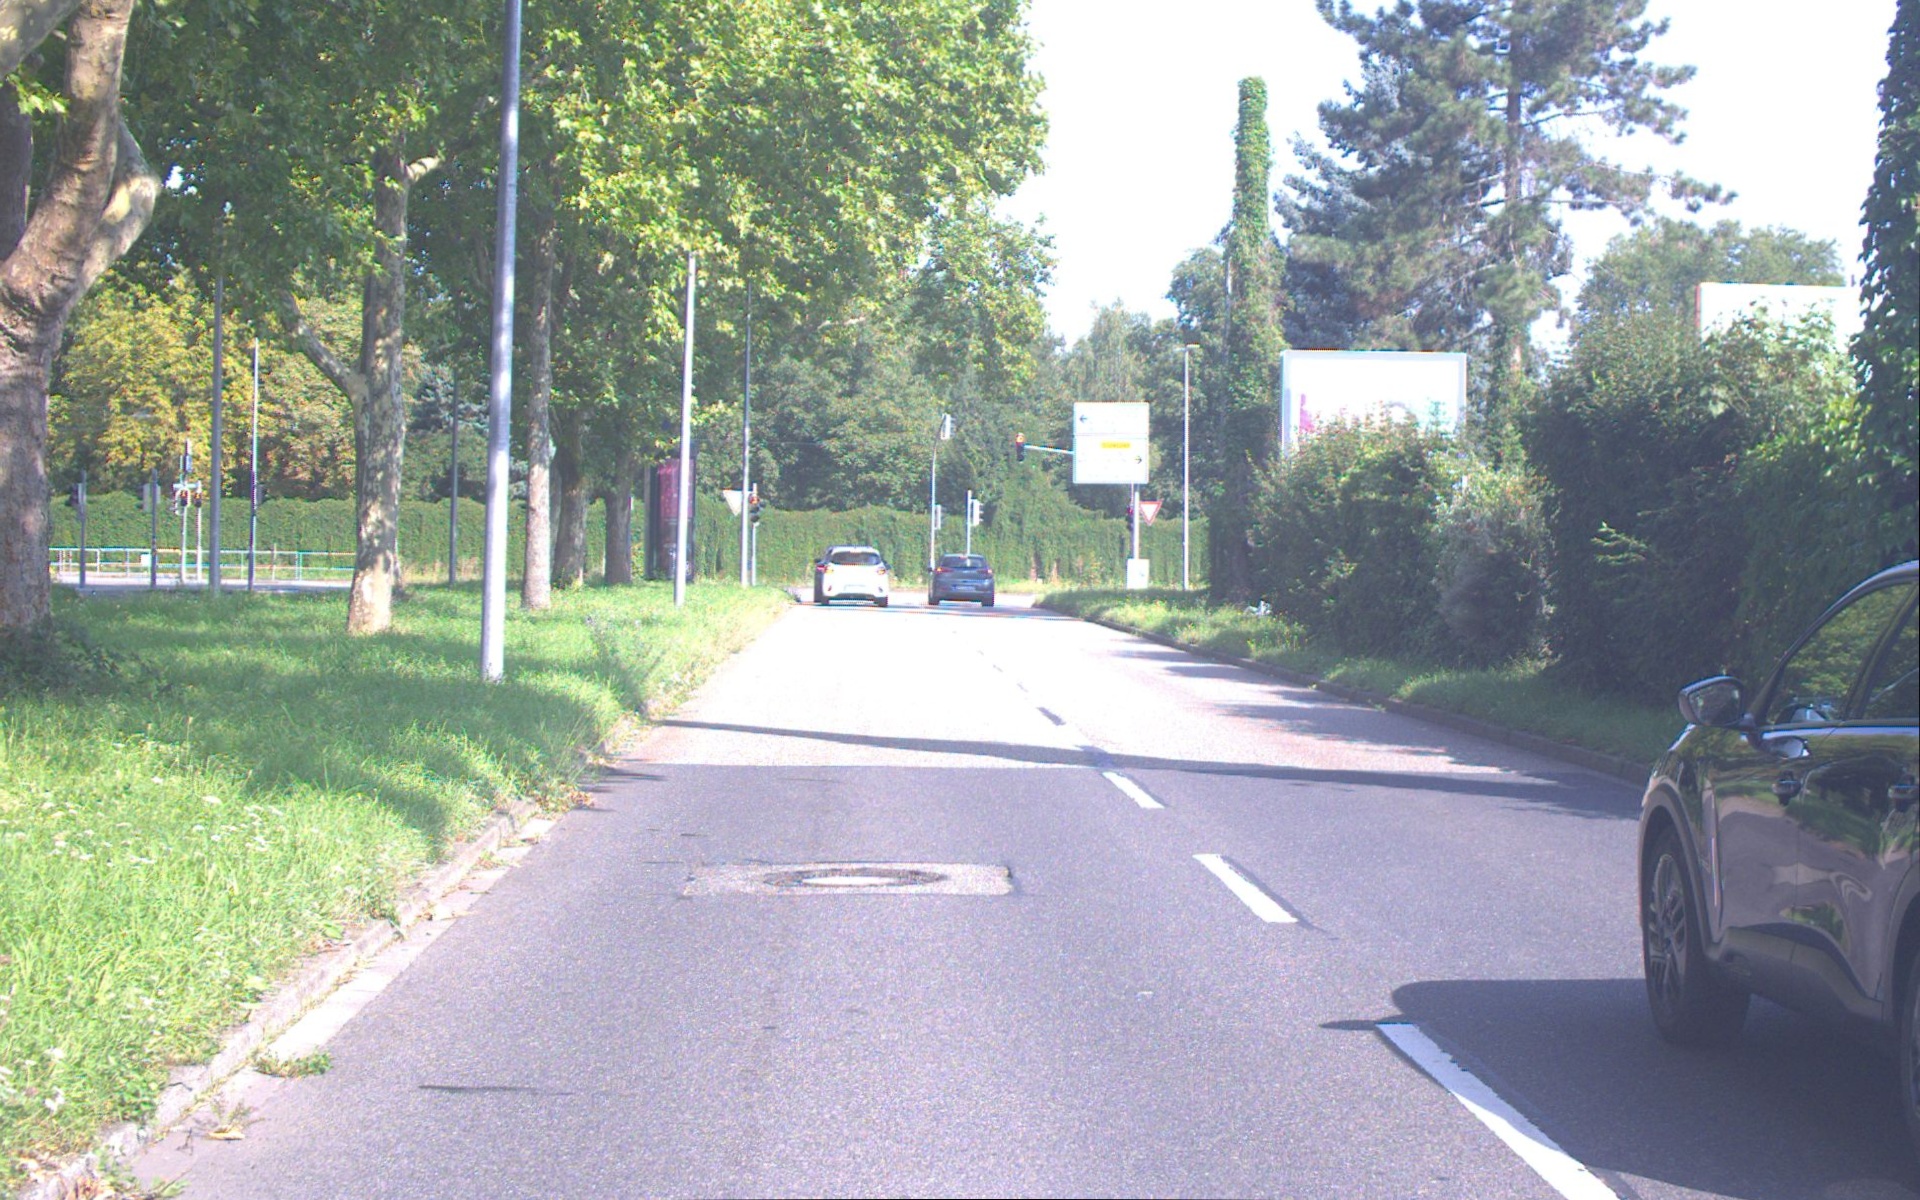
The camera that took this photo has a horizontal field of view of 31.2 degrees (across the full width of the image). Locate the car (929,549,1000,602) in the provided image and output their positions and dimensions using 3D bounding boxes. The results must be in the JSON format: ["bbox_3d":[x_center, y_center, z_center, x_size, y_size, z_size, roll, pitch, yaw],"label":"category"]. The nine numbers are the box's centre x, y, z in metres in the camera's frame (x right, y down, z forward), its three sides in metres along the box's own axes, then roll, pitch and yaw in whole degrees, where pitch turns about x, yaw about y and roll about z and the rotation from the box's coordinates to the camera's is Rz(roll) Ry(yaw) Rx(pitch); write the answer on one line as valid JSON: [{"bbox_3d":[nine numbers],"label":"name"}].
[{"bbox_3d":[0.111,-0.696,96.476,1.797,1.396,4.000,1,1,-2],"label":"car"}]

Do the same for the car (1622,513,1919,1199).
[{"bbox_3d":[2.980,0.589,9.044,1.645,1.583,4.255,0,0,0],"label":"car"}]

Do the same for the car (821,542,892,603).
[{"bbox_3d":[-2.624,-0.707,87.576,1.687,1.457,4.000,1,1,-1],"label":"car"}]
